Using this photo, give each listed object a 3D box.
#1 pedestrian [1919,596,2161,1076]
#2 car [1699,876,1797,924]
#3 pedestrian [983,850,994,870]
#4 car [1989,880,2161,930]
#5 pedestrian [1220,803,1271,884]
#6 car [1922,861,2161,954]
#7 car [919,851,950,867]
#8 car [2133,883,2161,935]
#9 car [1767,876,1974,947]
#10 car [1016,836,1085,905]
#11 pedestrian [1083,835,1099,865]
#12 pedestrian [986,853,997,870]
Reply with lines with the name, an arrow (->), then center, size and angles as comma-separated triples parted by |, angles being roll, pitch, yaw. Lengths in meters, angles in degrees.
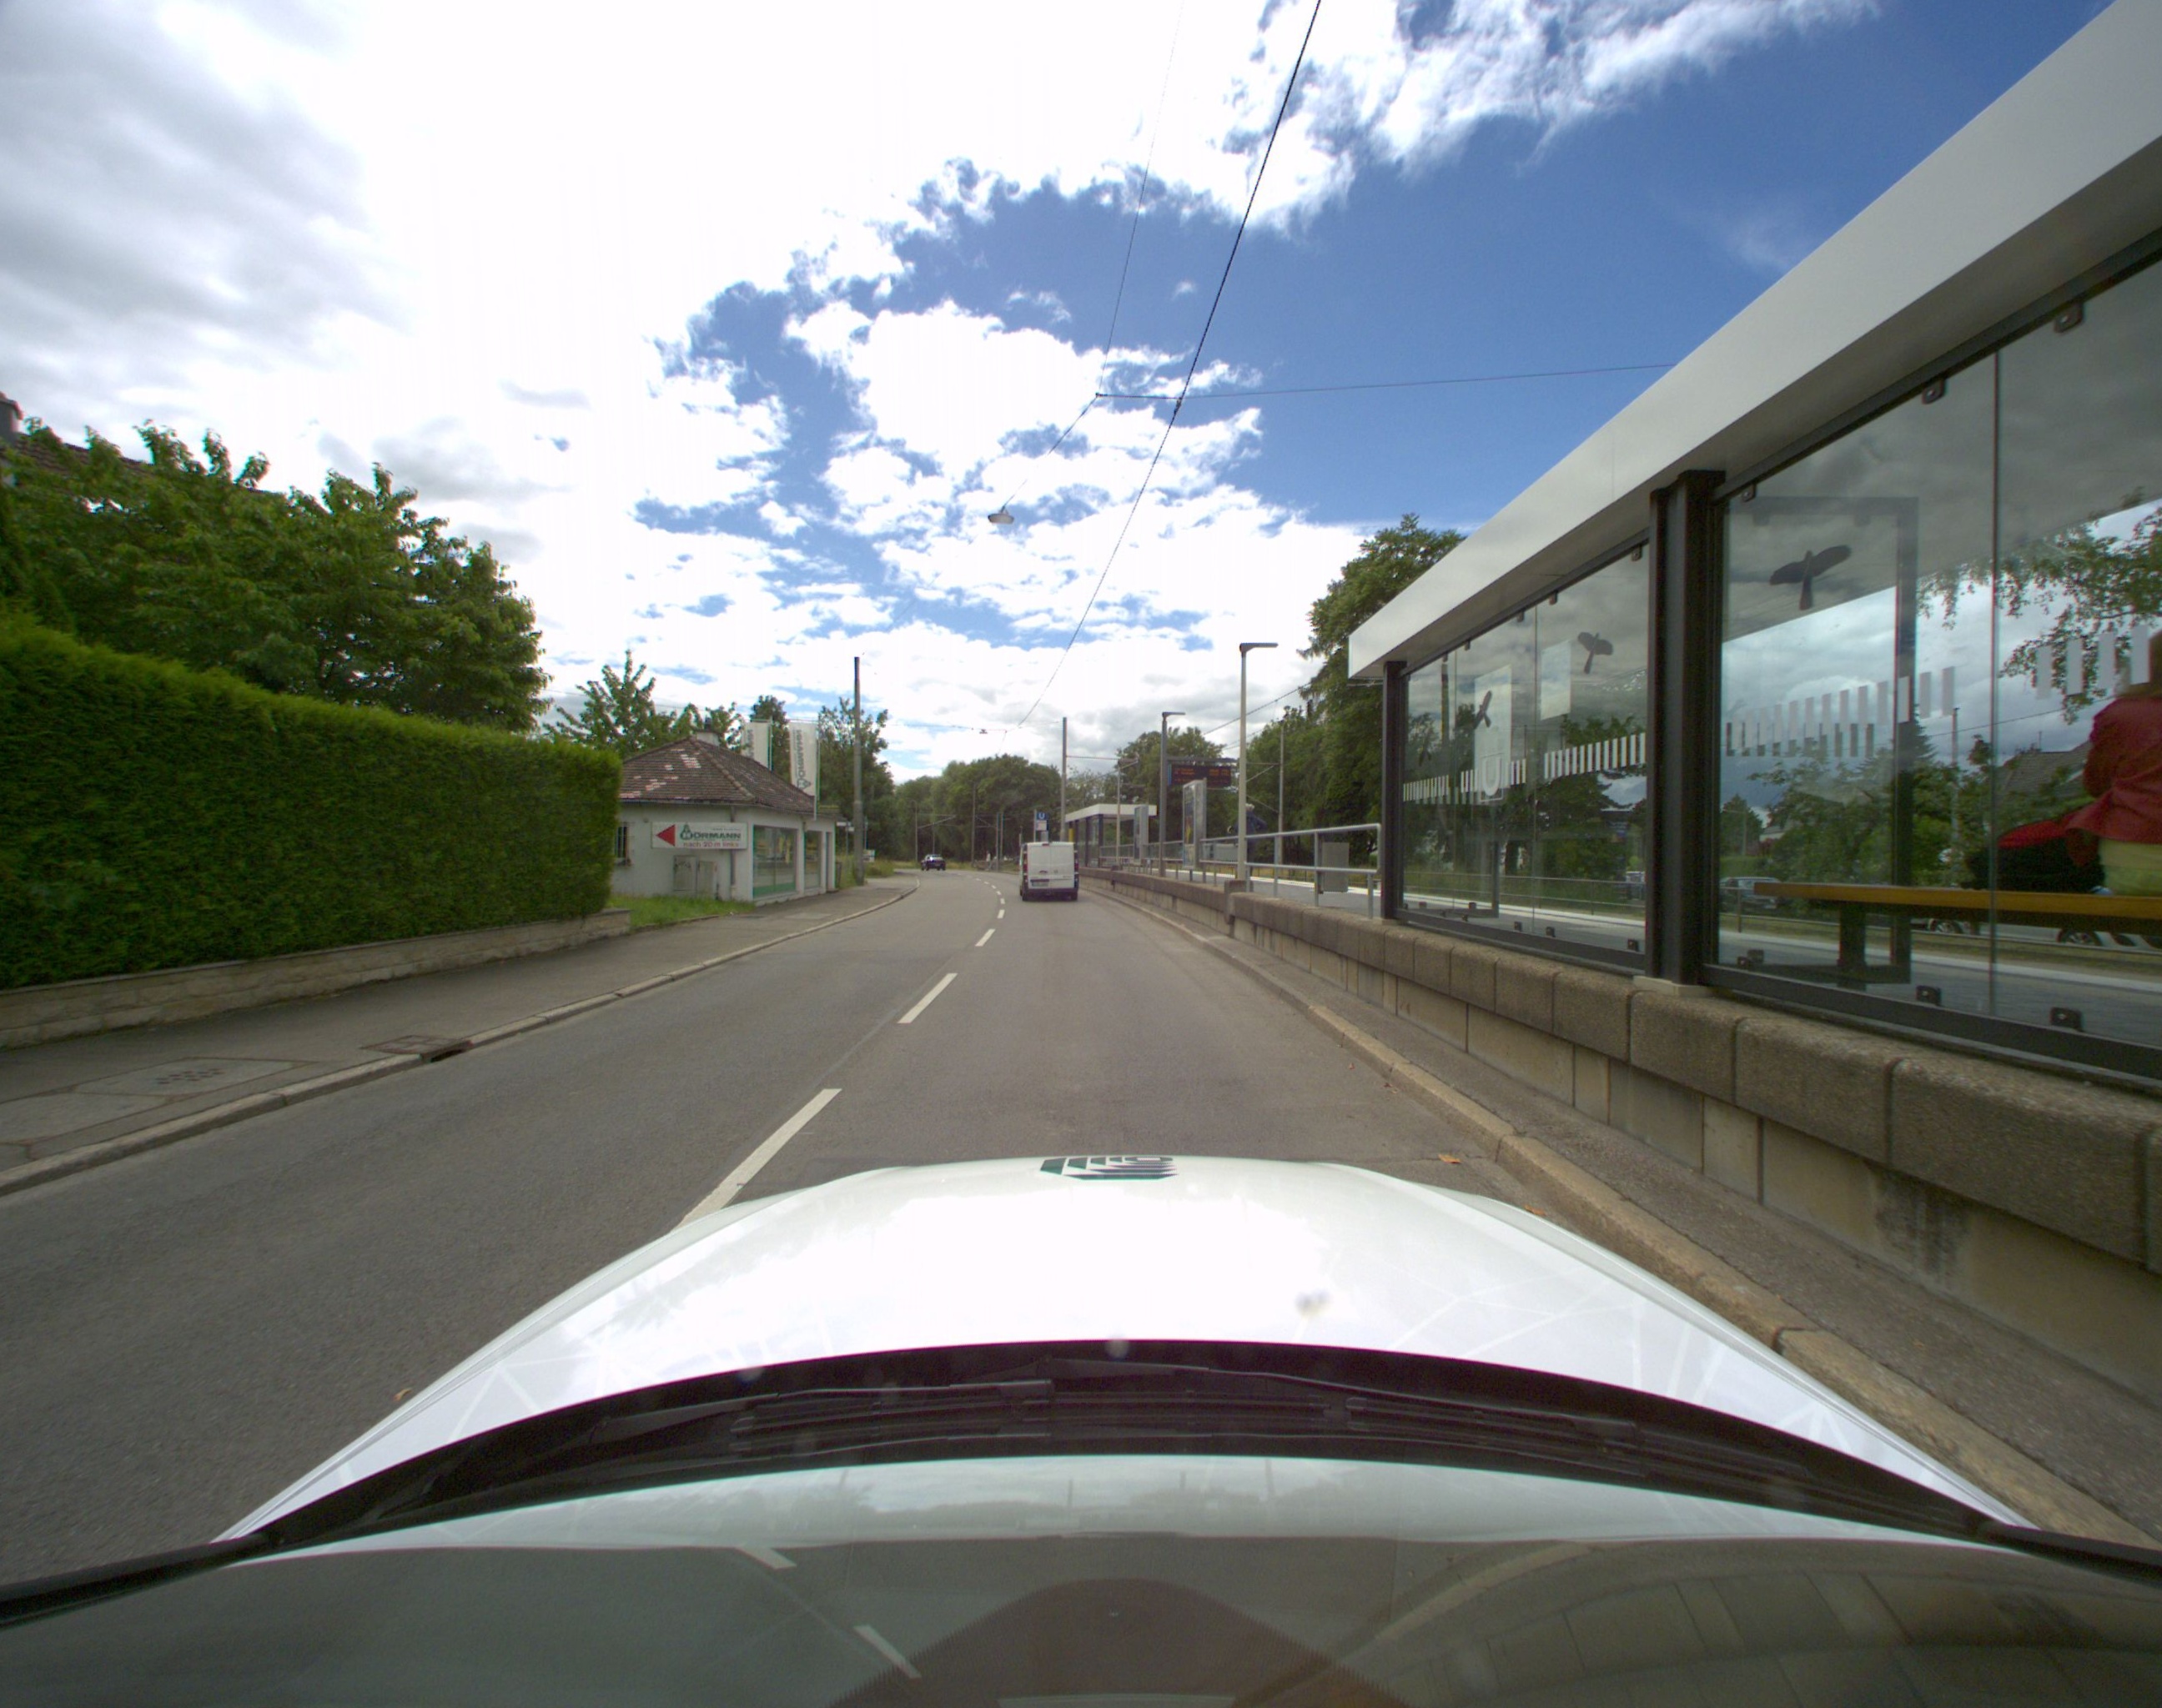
pedestrian -> 3.224, -0.046, 2.476 | 0.619, 1.299, 0.719 | 1, 0, -2
car -> 23.221, 1.567, 28.523 | 1.740, 1.488, 4.527 | 1, -2, 27
pedestrian -> -8.233, 0.513, 72.518 | 0.764, 1.795, 0.624 | 0, 0, -35
car -> 33.369, 1.655, 27.469 | 1.744, 1.488, 3.914 | 0, -1, 14
pedestrian -> 3.484, -0.208, 17.346 | 0.883, 1.671, 0.909 | 1, 0, -1
car -> 19.527, 0.952, 16.082 | 1.749, 1.574, 4.103 | 1, 0, 3
car -> -14.885, 0.507, 82.475 | 2.364, 1.564, 4.342 | 2, -1, -21
car -> 31.875, 1.580, 22.010 | 1.743, 1.488, 4.716 | 0, -1, 15
car -> 20.131, 1.376, 21.083 | 1.827, 1.488, 4.518 | 1, 0, 14
car -> -1.182, 0.539, 28.490 | 2.113, 2.134, 5.431 | 2, 0, -5
pedestrian -> 0.474, -0.205, 39.230 | 0.638, 1.404, 0.762 | 0, 1, -9
pedestrian -> -7.789, 0.655, 71.123 | 0.764, 1.492, 0.624 | 0, 0, -35
